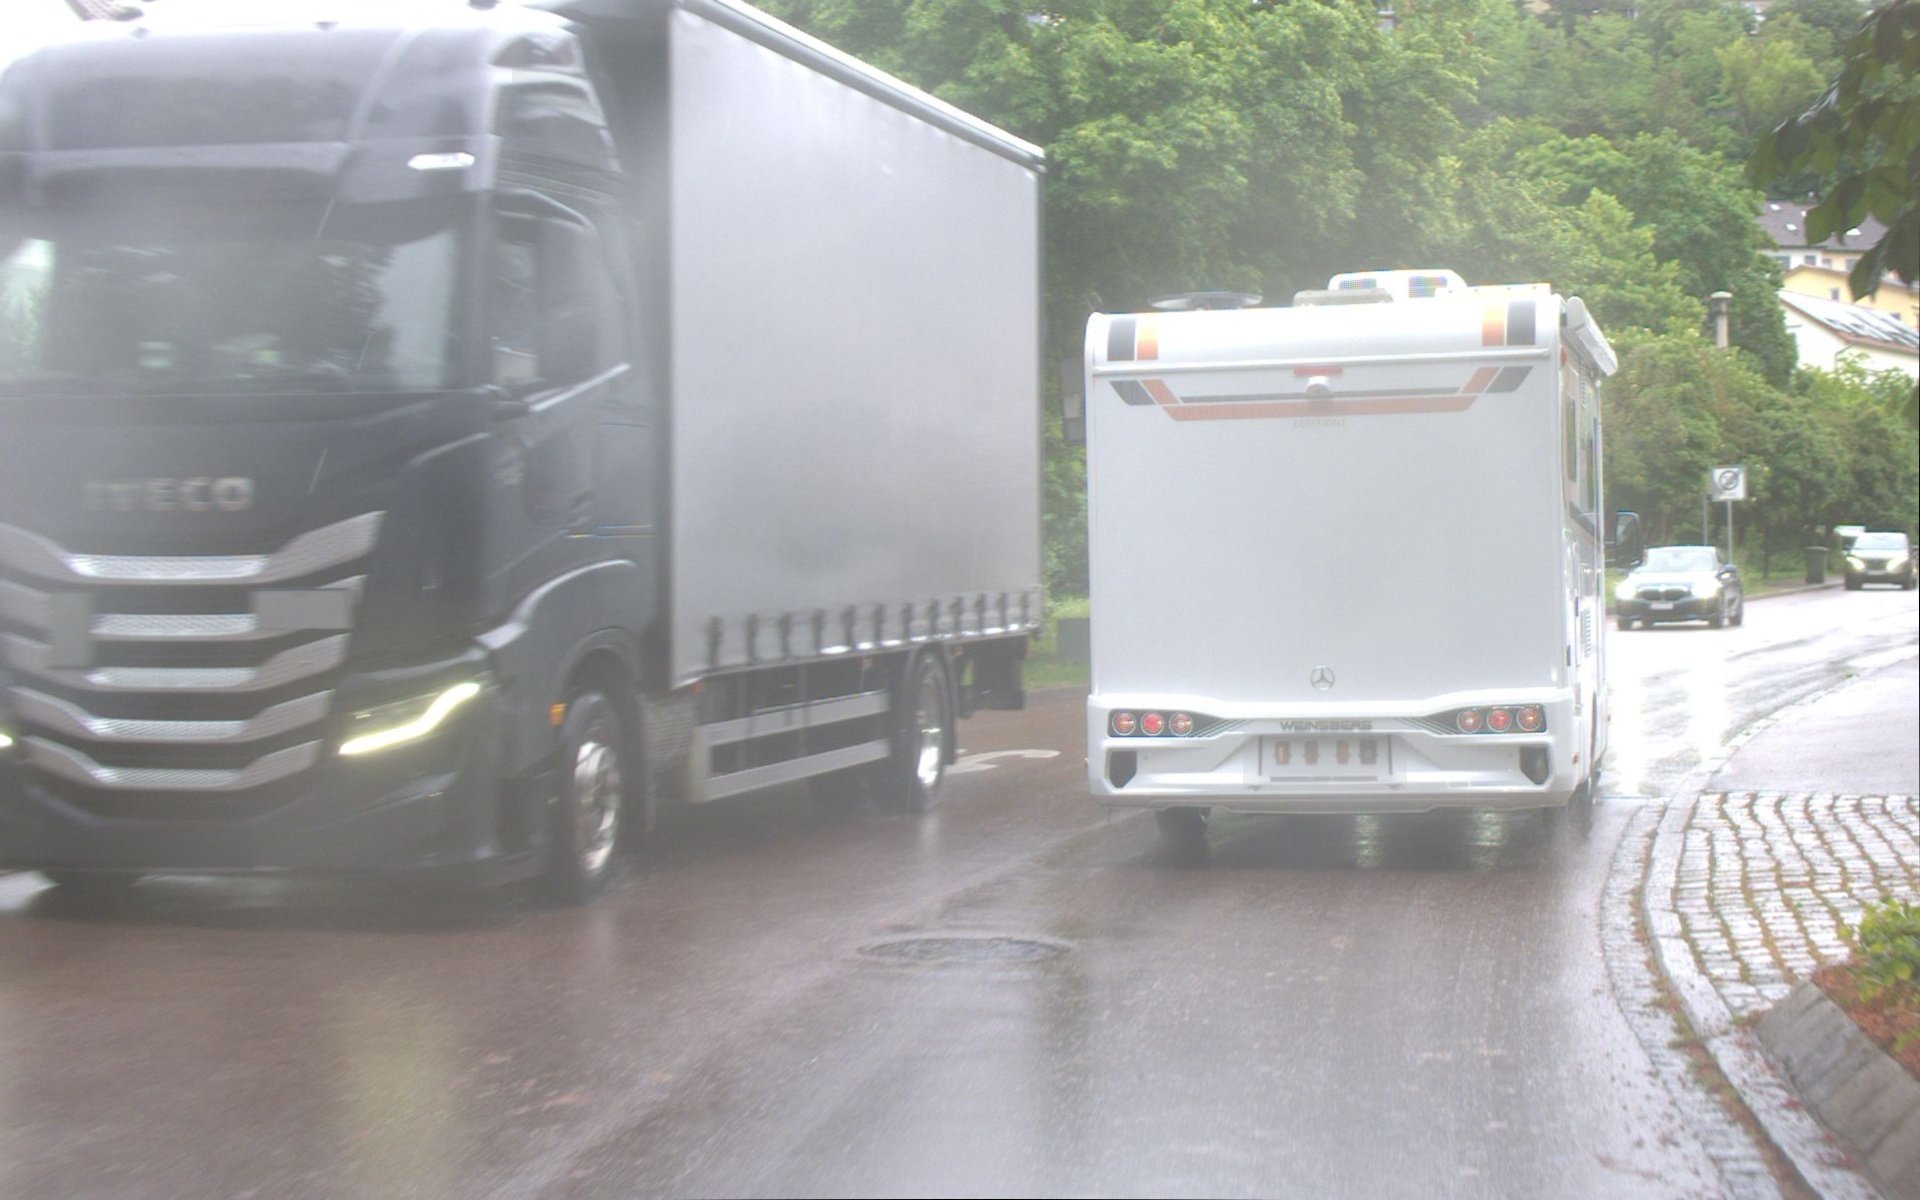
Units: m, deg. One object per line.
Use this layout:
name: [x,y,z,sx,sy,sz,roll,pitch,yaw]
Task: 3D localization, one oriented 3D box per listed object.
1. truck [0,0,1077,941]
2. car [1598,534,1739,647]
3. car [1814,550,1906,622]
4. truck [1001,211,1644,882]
truck: [-1.874,-0.900,17.849,2.840,4.152,9.970,1,1,14]
car: [12.389,-0.172,59.954,1.995,1.888,3.996,1,0,18]
car: [25.817,-0.408,98.562,1.996,2.007,3.995,1,0,23]
truck: [2.216,-0.253,18.593,2.696,2.976,6.233,1,0,13]
